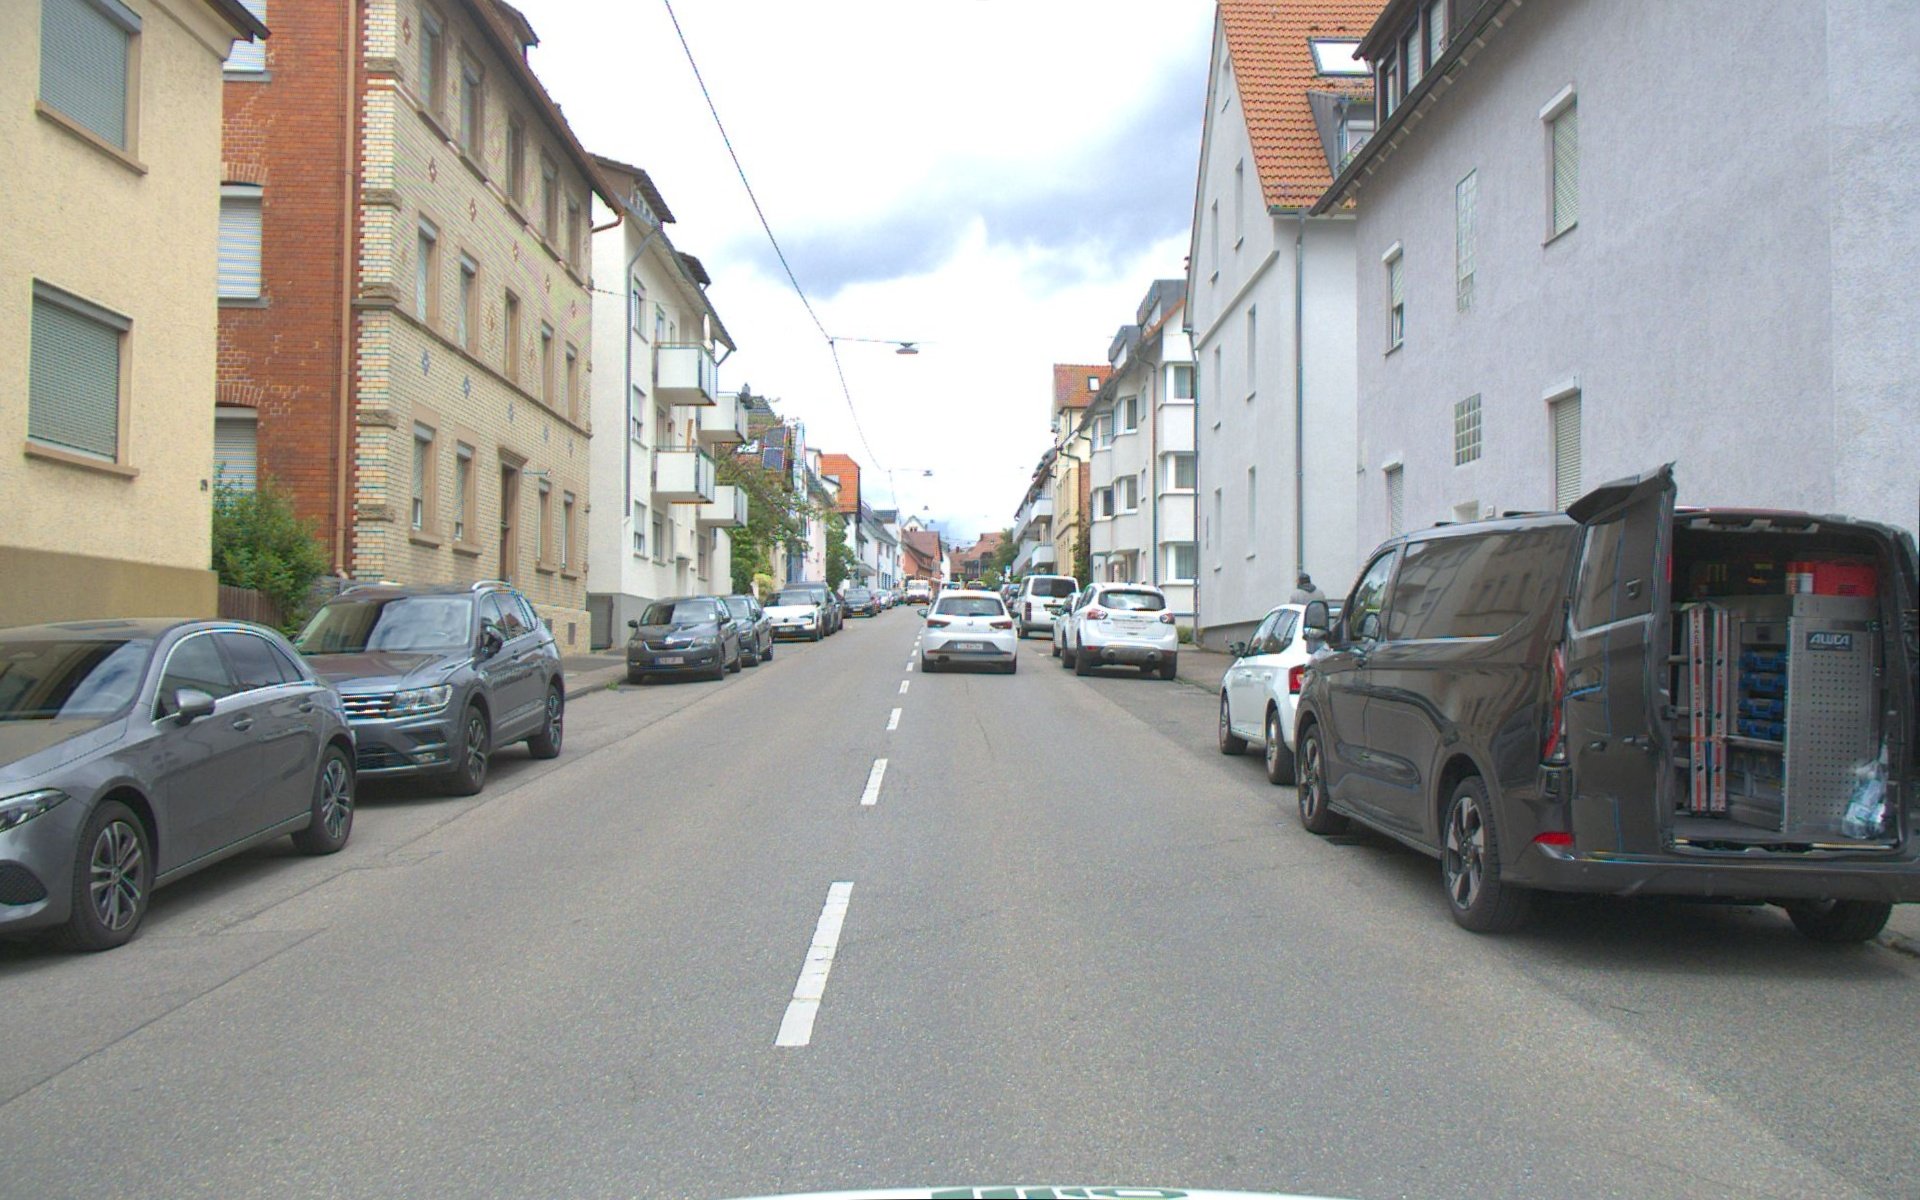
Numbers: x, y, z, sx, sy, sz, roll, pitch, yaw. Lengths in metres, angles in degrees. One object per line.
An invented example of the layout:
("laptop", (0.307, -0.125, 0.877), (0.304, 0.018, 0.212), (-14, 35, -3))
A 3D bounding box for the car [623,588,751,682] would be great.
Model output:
("car", (-4.875, 0.572, 30.020), (1.609, 1.499, 4.178), (-3, 1, -1))

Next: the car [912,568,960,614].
("car", (-1.123, -0.422, 76.472), (2.109, 2.049, 3.999), (1, 0, -2))

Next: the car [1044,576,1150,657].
("car", (3.090, 0.339, 37.998), (1.902, 1.722, 3.998), (1, 1, -3))

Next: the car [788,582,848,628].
("car", (-5.274, 0.167, 61.955), (1.953, 1.680, 4.000), (0, 1, -1))

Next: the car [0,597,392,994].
("car", (-4.684, 0.805, 8.536), (1.953, 1.498, 4.244), (-3, 1, 0))

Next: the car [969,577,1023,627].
("car", (1.511, 0.053, 70.436), (1.954, 2.049, 3.997), (0, 0, -4))

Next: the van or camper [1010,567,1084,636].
("van or camper", (2.738, 0.018, 53.124), (1.902, 2.090, 4.560), (1, 0, -3))

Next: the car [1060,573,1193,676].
("car", (3.055, 0.413, 31.144), (1.902, 1.722, 3.999), (3, 1, -2))

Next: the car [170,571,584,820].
("car", (-4.684, 0.657, 14.120), (1.953, 1.679, 4.552), (-3, 1, -2))

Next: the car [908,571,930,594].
("car", (-3.749, -1.609, 152.074), (1.953, 2.049, 4.000), (0, 0, -1))

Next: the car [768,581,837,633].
("car", (-5.226, 0.209, 55.399), (1.953, 1.680, 4.000), (0, 1, -1))

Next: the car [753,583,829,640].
("car", (-5.127, 0.324, 50.549), (1.953, 1.680, 4.000), (0, 1, -1))

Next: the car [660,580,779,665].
("car", (-5.001, 0.431, 34.858), (1.953, 1.680, 4.000), (0, 1, -1))

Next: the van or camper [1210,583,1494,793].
("van or camper", (3.355, 0.661, 14.867), (1.569, 1.570, 4.000), (2, 1, 0))

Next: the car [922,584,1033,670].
("car", (0.275, 0.442, 30.644), (1.901, 1.464, 3.999), (1, 1, -1))

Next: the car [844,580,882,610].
("car", (-5.500, -0.305, 93.920), (1.953, 1.680, 4.178), (0, 1, -1))

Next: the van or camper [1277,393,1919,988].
("van or camper", (3.357, 0.322, 8.948), (1.953, 2.101, 5.943), (3, 0, -1))

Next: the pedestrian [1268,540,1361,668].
("pedestrian", (5.164, 0.042, 24.187), (0.956, 1.769, 1.533), (-2, 0, 0))

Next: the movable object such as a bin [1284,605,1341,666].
("movable object such as a bin", (6.451, 0.646, 30.318), (0.869, 1.080, 1.217), (0, 0, 4))
